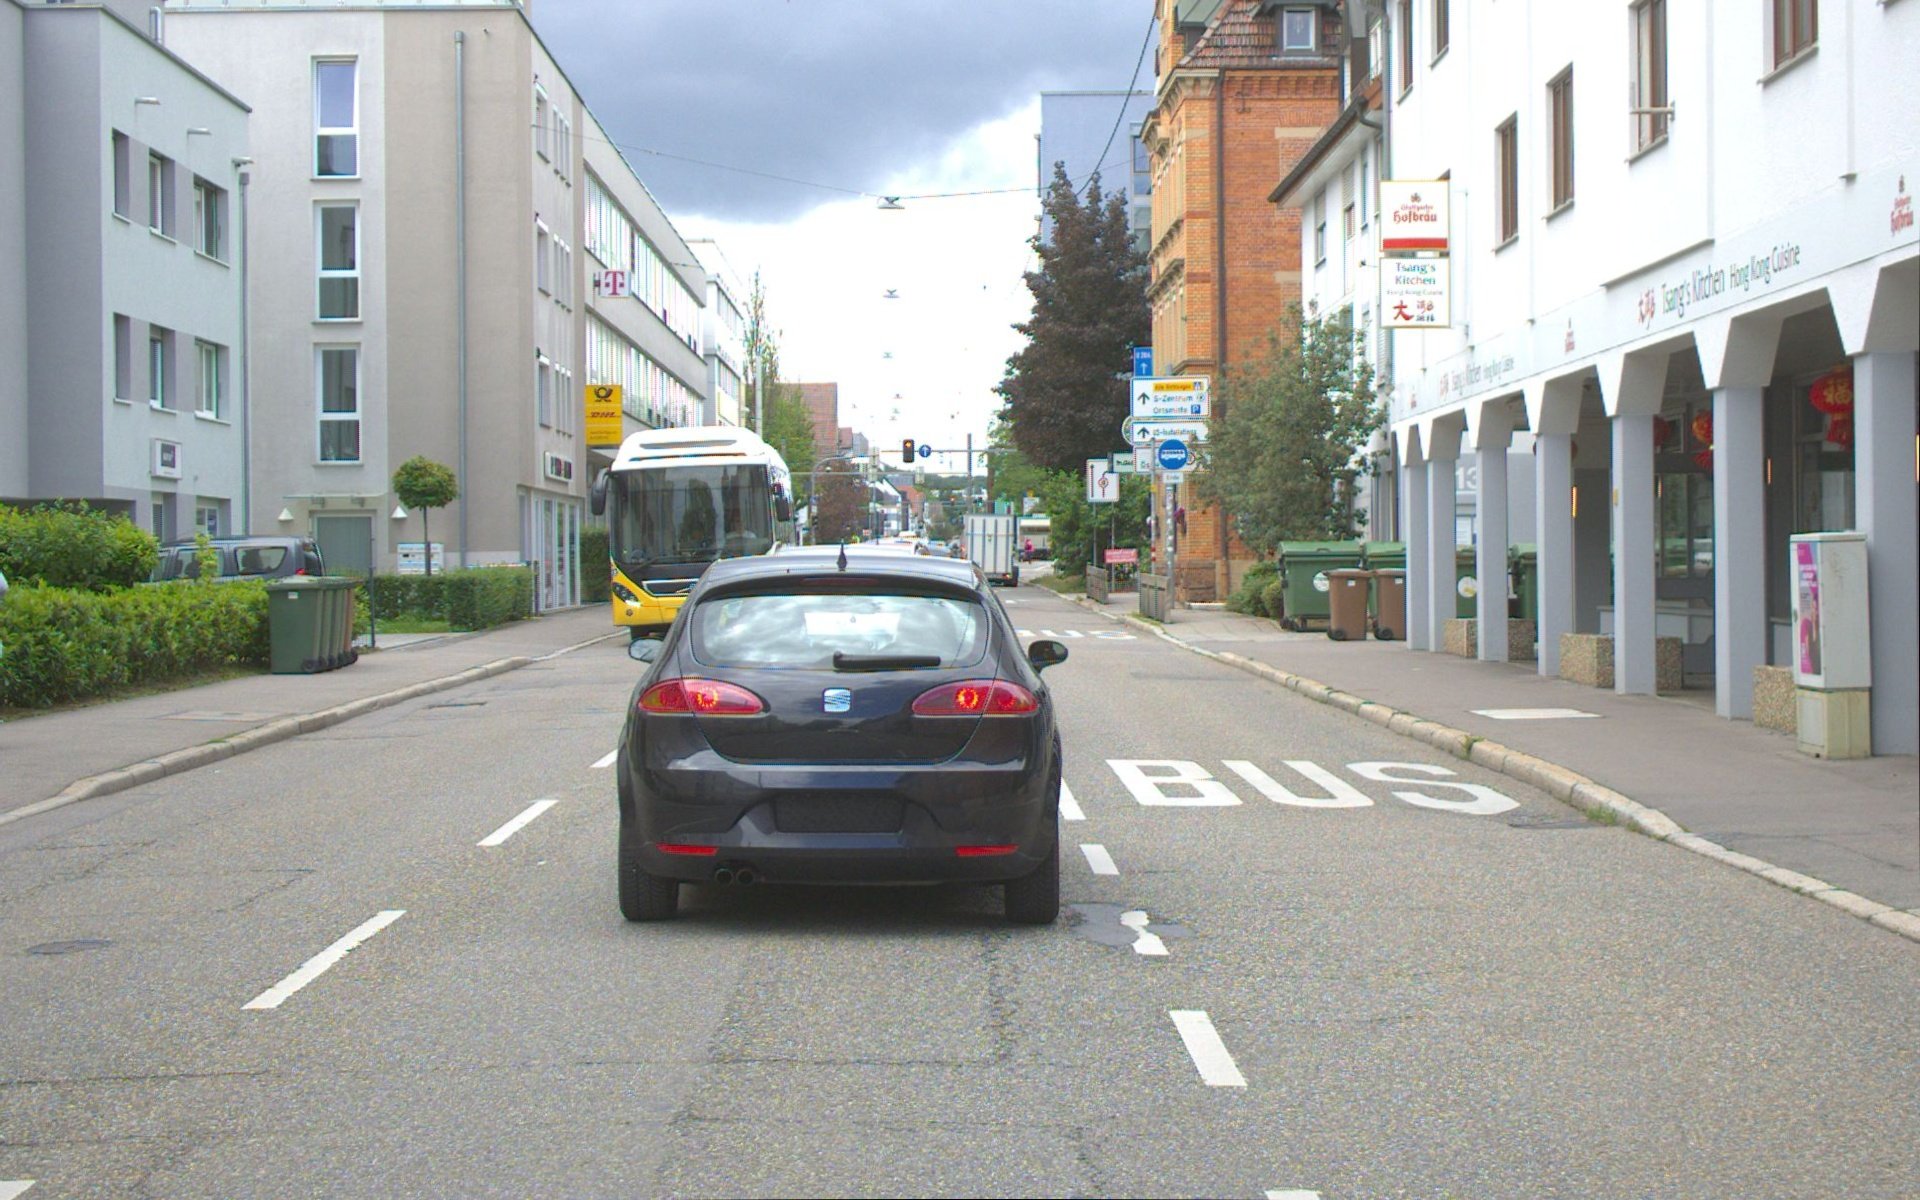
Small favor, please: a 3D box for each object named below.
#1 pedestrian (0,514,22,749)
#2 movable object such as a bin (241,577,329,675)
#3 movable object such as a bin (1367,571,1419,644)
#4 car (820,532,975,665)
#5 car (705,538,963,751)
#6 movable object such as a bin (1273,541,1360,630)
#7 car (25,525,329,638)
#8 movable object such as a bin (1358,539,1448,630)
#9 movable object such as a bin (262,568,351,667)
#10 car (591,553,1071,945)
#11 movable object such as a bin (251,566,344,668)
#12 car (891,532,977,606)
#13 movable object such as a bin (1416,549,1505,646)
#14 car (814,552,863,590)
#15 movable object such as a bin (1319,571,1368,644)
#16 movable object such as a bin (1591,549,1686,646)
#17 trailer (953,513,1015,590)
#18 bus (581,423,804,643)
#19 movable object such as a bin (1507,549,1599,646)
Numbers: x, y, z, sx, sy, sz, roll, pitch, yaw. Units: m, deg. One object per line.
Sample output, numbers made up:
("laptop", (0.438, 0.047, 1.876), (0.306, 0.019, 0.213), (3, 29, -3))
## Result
("pedestrian", (-6.994, 0.216, 24.212), (0.638, 1.637, 0.520), (0, 1, 0))
("movable object such as a bin", (-7.588, 0.285, 38.670), (0.894, 1.085, 0.793), (0, 1, -5))
("movable object such as a bin", (6.451, 0.106, 51.267), (0.698, 1.075, 0.971), (0, 1, 3))
("car", (-0.767, -0.047, 41.934), (1.803, 1.547, 3.738), (0, 1, -1))
("car", (-0.918, 0.283, 25.946), (1.803, 1.487, 3.738), (0, 1, -1))
("movable object such as a bin", (5.714, -0.243, 55.212), (1.267, 1.412, 1.162), (0, 1, 0))
("car", (-11.824, -0.274, 52.039), (4.163, 1.662, 1.724), (0, 0, 3))
("movable object such as a bin", (7.070, -0.257, 54.916), (1.267, 1.430, 1.307), (0, 1, 0))
("movable object such as a bin", (-7.676, 0.198, 40.418), (0.948, 1.147, 0.749), (0, 1, -5))
("car", (-0.492, 0.524, 14.574), (1.765, 1.428, 3.828), (0, 1, 0))
("movable object such as a bin", (-7.623, 0.189, 39.585), (0.956, 1.147, 0.840), (0, 1, -5))
("car", (-0.580, -0.672, 73.906), (1.803, 1.547, 3.738), (0, 1, -1))
("movable object such as a bin", (7.404, -0.051, 50.916), (1.209, 1.412, 1.259), (0, 1, 3))
("car", (-4.933, -1.187, 140.260), (1.878, 1.446, 4.214), (-2, 1, -1))
("movable object such as a bin", (5.721, 0.111, 51.294), (0.683, 1.063, 0.971), (0, 1, 3))
("movable object such as a bin", (10.024, -0.043, 50.850), (1.209, 1.412, 1.259), (0, 1, 3))
("trailer", (0.822, -1.691, 119.276), (1.993, 2.598, 5.349), (0, 1, -1))
("bus", (-4.328, -1.127, 58.148), (2.942, 3.262, 12.009), (-1, 1, -1))
("movable object such as a bin", (8.768, -0.049, 50.899), (1.209, 1.412, 1.259), (0, 1, 3))
